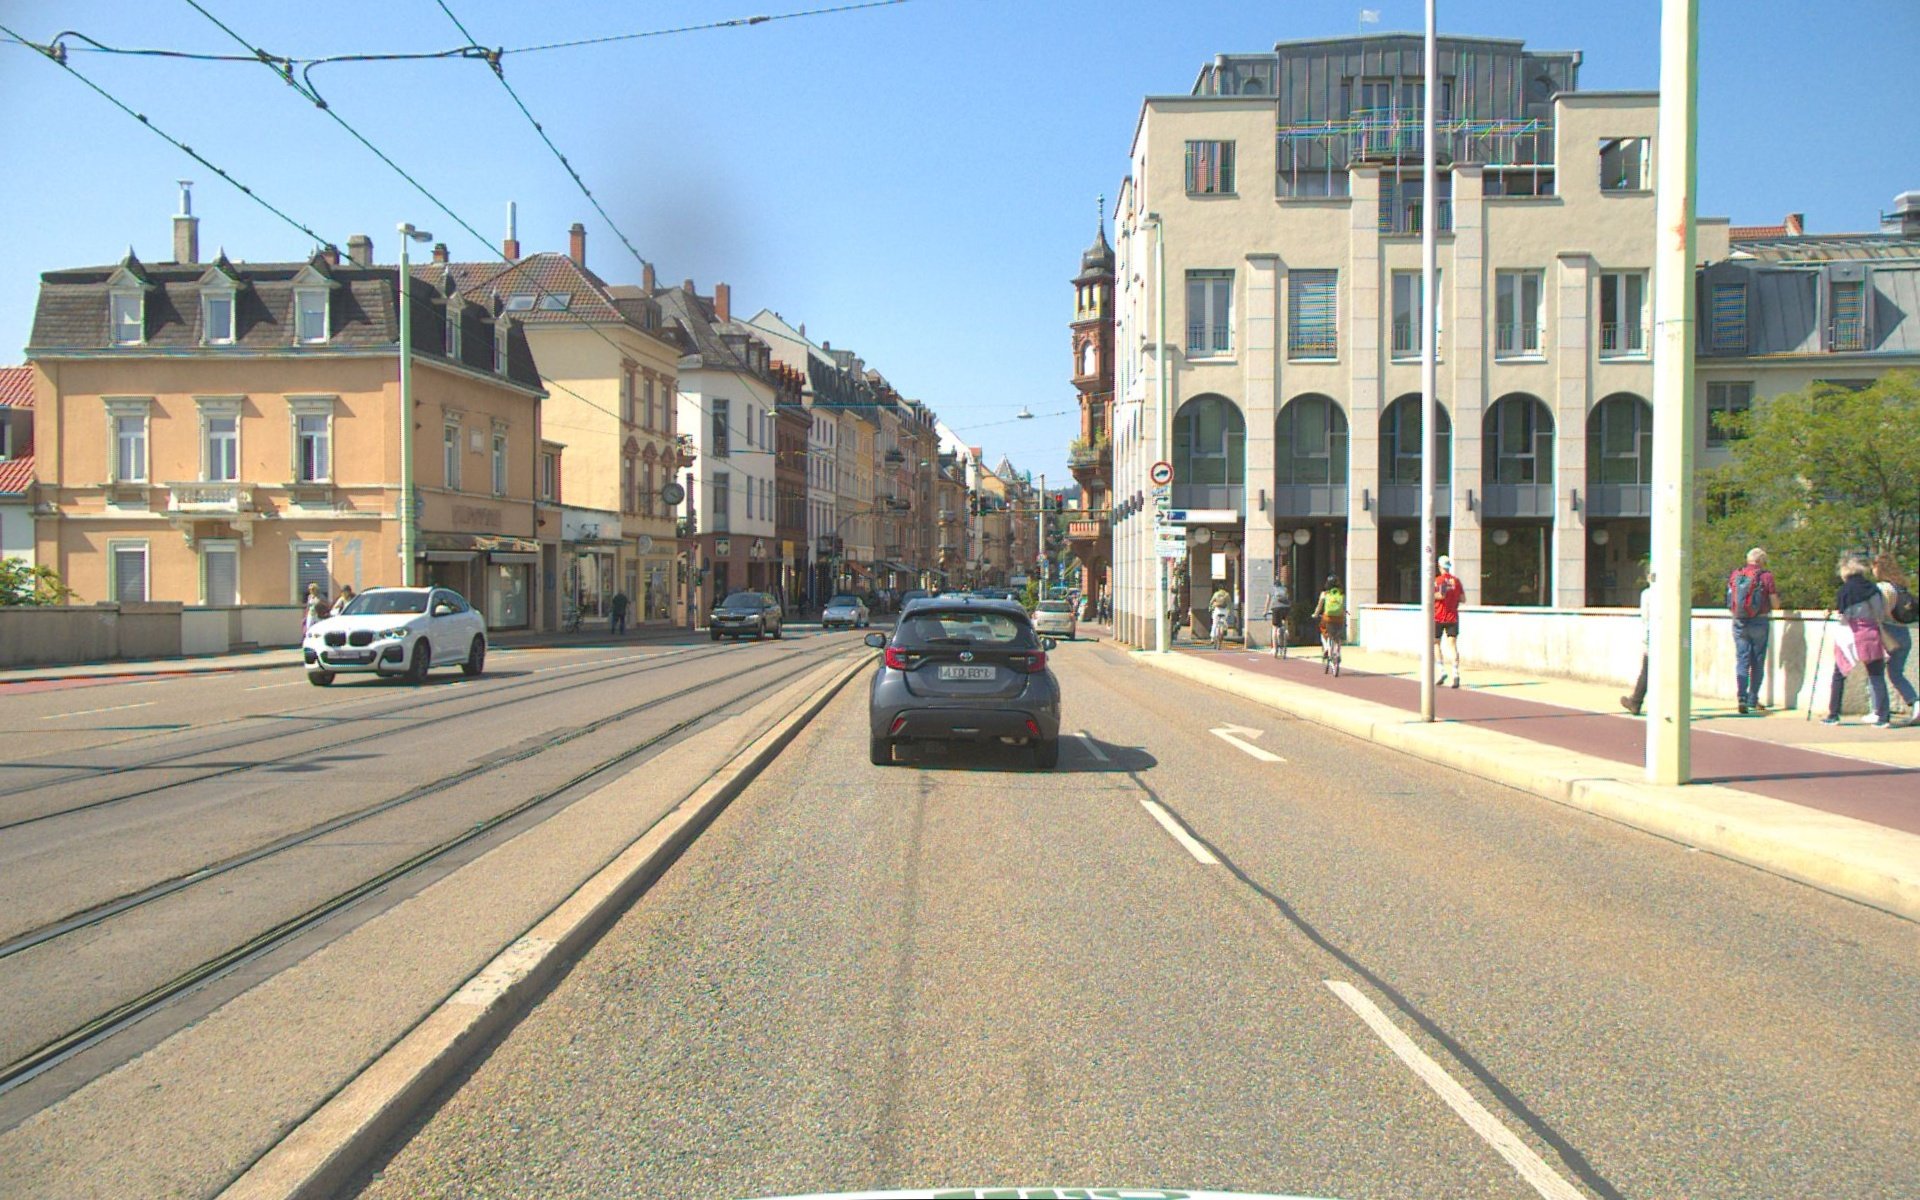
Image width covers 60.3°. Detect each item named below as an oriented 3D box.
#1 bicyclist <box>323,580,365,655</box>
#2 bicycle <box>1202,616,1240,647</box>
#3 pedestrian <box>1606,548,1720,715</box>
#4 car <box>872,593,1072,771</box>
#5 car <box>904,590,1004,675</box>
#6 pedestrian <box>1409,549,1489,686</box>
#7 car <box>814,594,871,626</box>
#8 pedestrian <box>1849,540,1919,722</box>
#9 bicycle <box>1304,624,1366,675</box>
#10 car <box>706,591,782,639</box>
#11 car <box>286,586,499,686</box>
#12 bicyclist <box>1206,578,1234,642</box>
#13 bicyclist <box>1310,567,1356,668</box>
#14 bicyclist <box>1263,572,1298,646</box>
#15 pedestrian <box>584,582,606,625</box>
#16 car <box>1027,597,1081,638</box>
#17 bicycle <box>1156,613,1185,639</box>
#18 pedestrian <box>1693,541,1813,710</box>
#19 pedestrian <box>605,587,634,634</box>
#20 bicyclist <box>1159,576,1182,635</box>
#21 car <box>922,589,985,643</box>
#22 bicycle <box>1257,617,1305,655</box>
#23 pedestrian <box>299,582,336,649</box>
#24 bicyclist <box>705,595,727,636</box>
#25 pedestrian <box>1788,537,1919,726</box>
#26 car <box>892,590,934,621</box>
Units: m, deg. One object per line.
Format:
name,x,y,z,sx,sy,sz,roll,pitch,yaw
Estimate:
bicyclist,-13.936,0.387,37.430,0.614,1.679,0.622,2,1,8
bicycle,6.926,0.830,43.964,0.582,0.779,1.865,-1,0,-3
pedestrian,7.688,0.330,18.124,0.739,1.748,1.073,-2,0,-1
car,0.063,0.699,16.044,1.685,1.499,3.657,1,0,-1
car,-0.157,0.609,33.359,1.859,1.557,3.999,1,0,-1
pedestrian,7.207,0.249,24.407,0.794,1.958,1.127,-1,0,-1
car,-5.434,0.458,77.114,1.951,1.457,4.003,1,0,6
pedestrian,9.645,0.291,16.692,0.724,1.777,1.015,-2,0,-3
bicycle,6.334,0.822,27.999,0.581,0.779,1.866,-1,0,-1
car,-7.352,0.489,56.609,1.756,1.572,3.923,0,0,5
car,-9.834,0.582,29.103,1.952,1.614,4.654,0,0,3
bicyclist,6.914,0.265,43.975,0.575,1.679,0.701,-1,0,-3
bicyclist,6.323,0.284,28.045,0.592,1.679,0.702,-1,0,0
bicyclist,6.984,0.186,36.042,0.575,1.586,0.701,-1,0,-3
pedestrian,-14.205,0.139,64.424,0.636,1.629,0.566,4,2,-1
car,3.565,0.638,63.254,1.671,1.491,4.325,1,0,-1
bicycle,6.677,0.813,52.477,0.582,0.779,1.865,-1,0,-3
pedestrian,8.933,0.273,18.649,1.001,1.833,0.735,-2,0,-27
pedestrian,-12.602,0.392,61.301,0.746,1.682,0.712,4,0,7
bicyclist,6.668,0.184,52.439,0.575,1.852,0.701,-1,0,-3
car,-0.242,0.468,51.519,1.859,1.557,3.999,1,0,-1
bicycle,6.986,0.780,36.067,0.582,0.779,1.830,-1,0,-3
pedestrian,-16.394,0.384,42.222,0.636,1.629,0.566,4,2,-1
bicyclist,-10.121,0.644,68.656,0.690,1.679,0.622,2,1,8
pedestrian,8.932,0.300,16.551,0.724,1.808,1.015,-2,0,-3
car,-2.770,0.333,98.682,1.951,1.804,4.003,0,0,6
